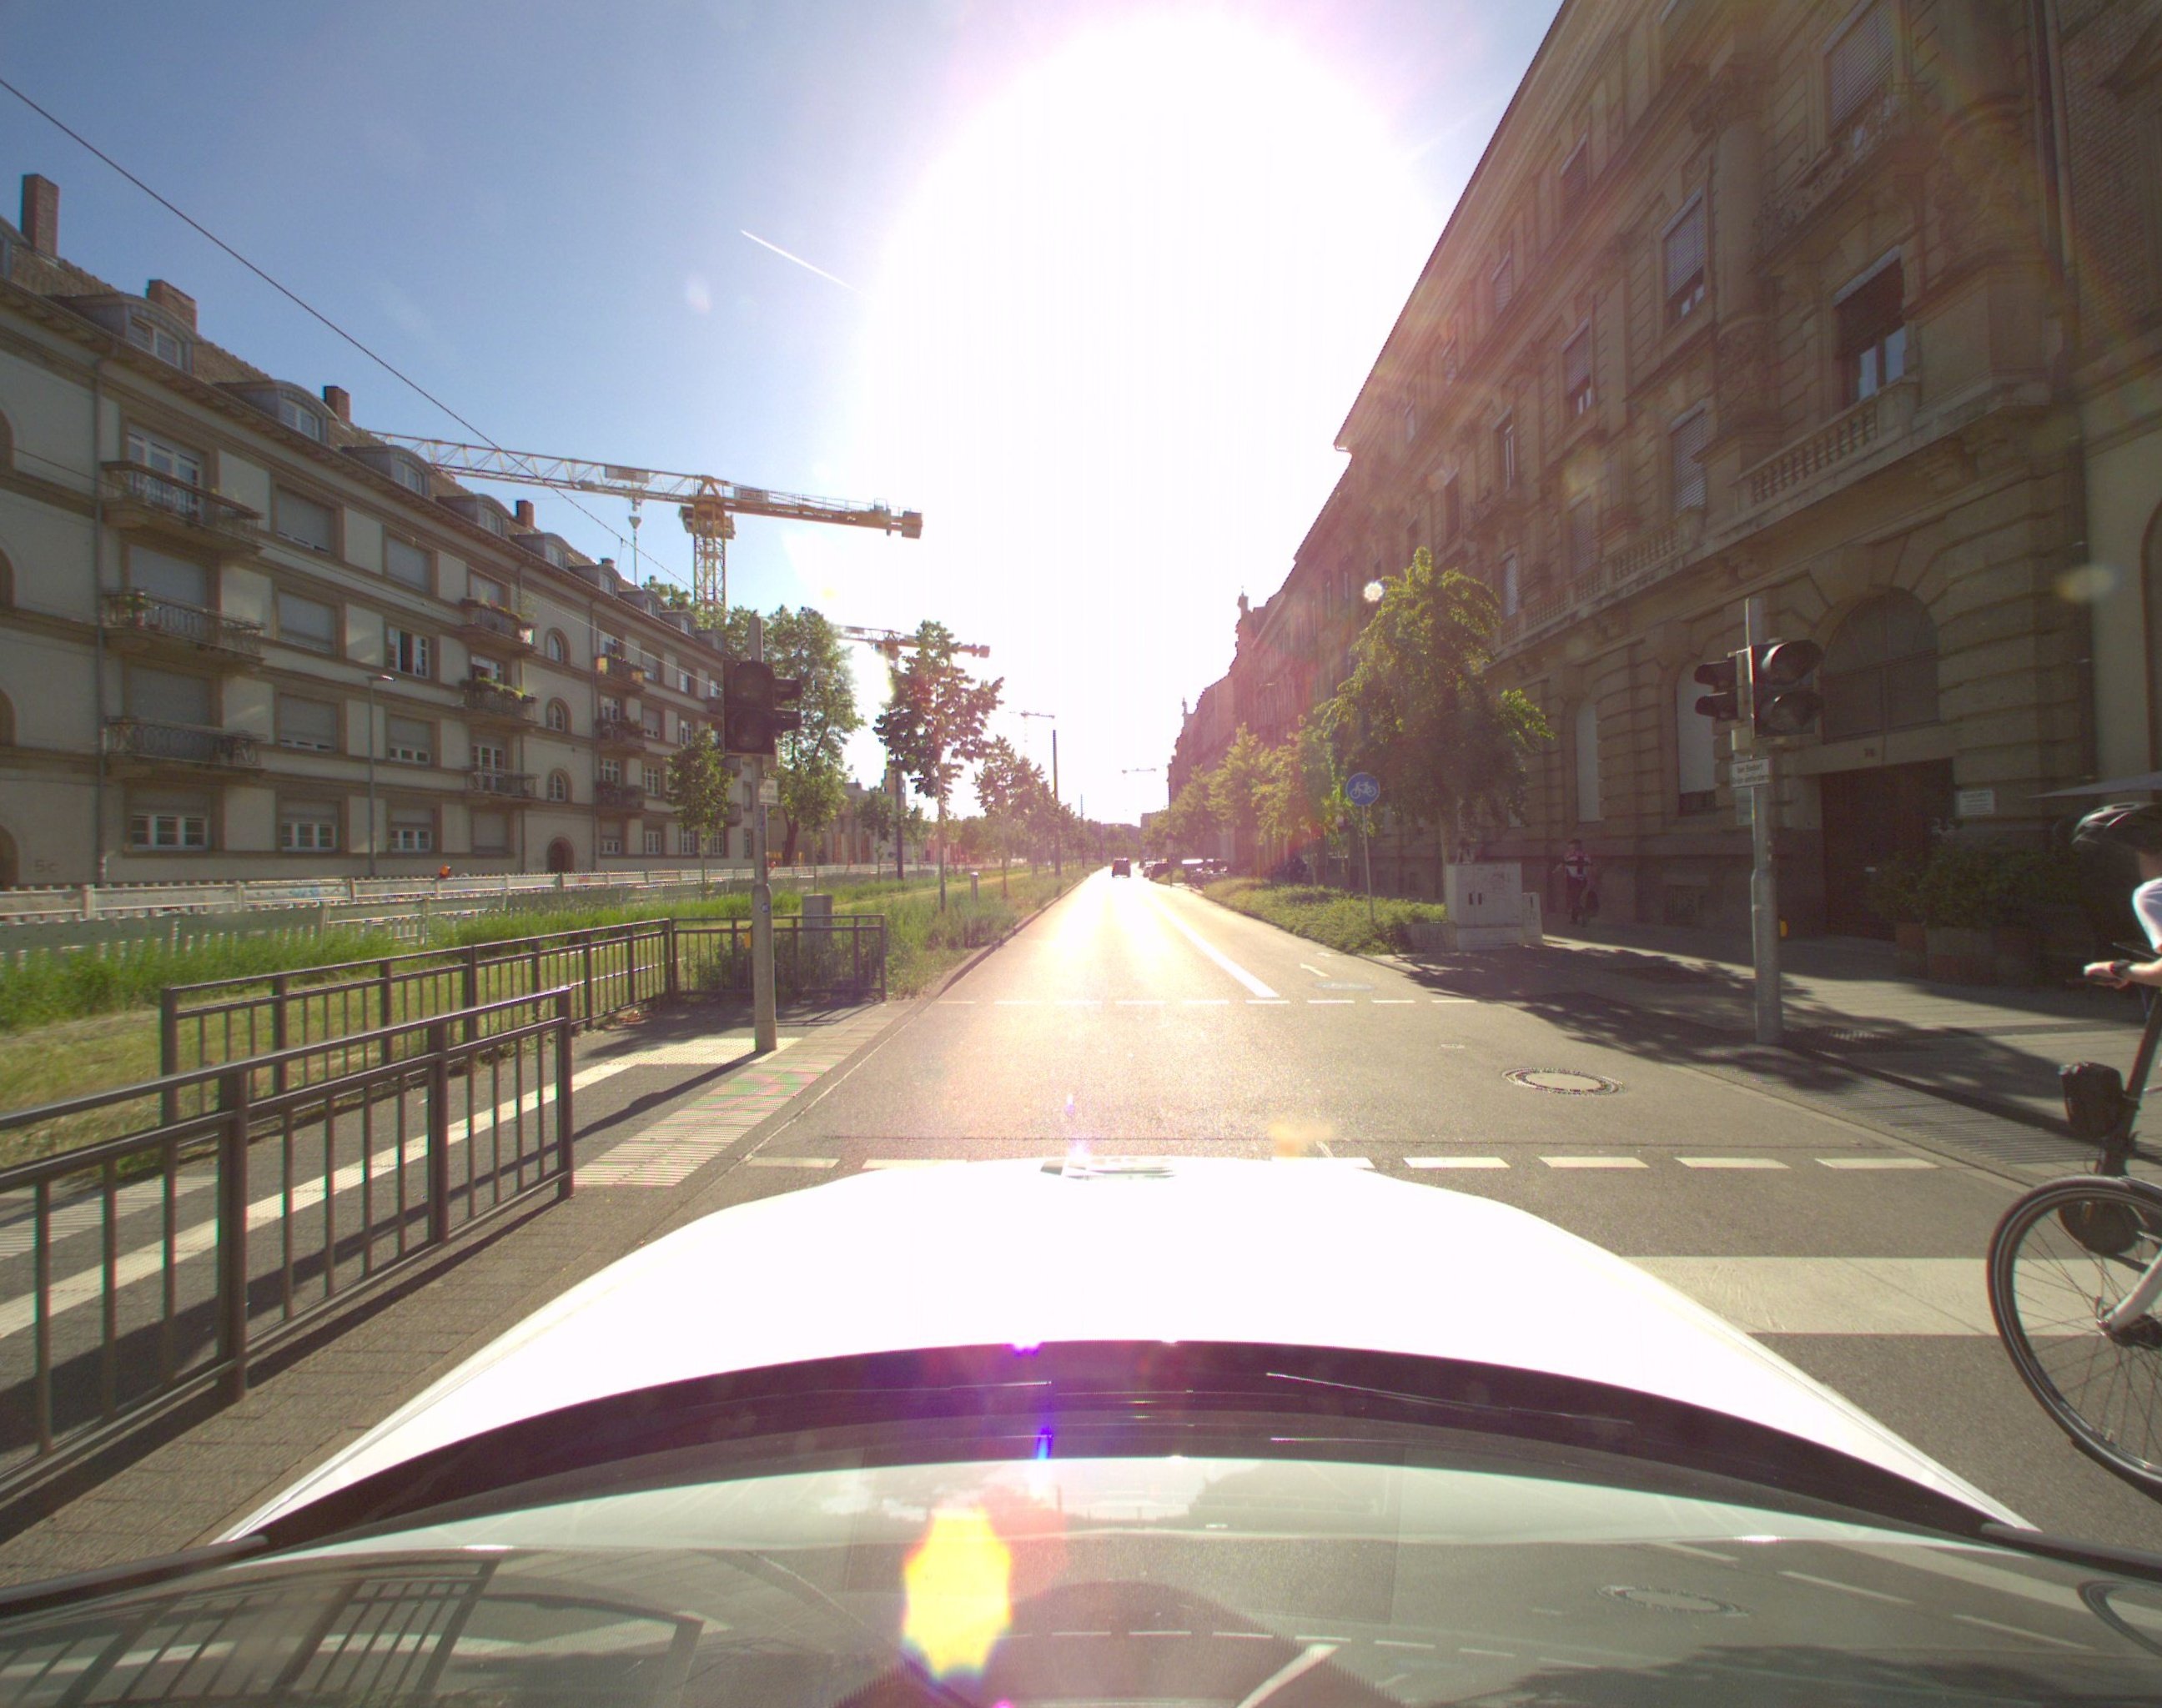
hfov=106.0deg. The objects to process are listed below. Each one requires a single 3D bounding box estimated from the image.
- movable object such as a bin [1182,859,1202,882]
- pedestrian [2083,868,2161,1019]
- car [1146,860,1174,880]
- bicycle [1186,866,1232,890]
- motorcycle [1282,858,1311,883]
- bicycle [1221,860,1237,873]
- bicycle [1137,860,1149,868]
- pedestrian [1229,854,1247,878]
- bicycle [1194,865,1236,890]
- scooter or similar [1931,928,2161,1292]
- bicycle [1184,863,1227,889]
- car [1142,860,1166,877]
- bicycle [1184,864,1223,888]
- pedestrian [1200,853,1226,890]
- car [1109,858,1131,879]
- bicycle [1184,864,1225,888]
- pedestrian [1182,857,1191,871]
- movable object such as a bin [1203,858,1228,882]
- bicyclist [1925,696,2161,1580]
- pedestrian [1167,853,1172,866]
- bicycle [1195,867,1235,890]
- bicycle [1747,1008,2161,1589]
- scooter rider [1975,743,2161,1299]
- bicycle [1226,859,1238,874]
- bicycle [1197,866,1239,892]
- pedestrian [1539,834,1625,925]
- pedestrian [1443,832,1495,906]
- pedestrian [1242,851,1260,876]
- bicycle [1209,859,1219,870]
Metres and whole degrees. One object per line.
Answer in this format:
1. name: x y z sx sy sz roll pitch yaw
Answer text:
1. movable object such as a bin: 7.359 1.103 54.207 1.264 1.463 1.647 0 2 7
2. pedestrian: 8.917 0.709 6.497 0.715 1.183 0.881 -2 -1 1
3. car: 6.508 1.359 67.114 1.760 1.477 4.447 -4 -1 -1
4. bicycle: 6.637 1.224 42.130 2.287 1.102 0.484 -3 -1 -13
5. motorcycle: 11.543 0.872 43.788 0.862 1.266 2.982 0 -1 2
6. bicycle: 13.112 1.077 72.286 0.873 1.105 2.181 -4 -1 -1
7. bicycle: 10.384 1.704 137.143 1.875 1.233 0.499 -4 -1 -4
8. pedestrian: 10.669 0.816 55.322 0.947 1.566 1.080 -2 0 1
9. bicycle: 6.742 1.174 40.962 1.971 1.108 0.435 -3 -1 -1
10. scooter or similar: 3.943 0.894 2.879 0.644 1.158 1.149 0 -1 -4
11. bicycle: 6.508 1.153 42.479 2.148 1.154 0.428 -4 0 -12
12. car: 7.121 1.424 79.815 1.944 1.495 5.107 -3 -1 2
13. bicycle: 6.608 1.199 43.969 1.970 1.124 0.481 -5 0 -4
14. pedestrian: 6.601 0.859 40.756 0.838 1.735 0.908 -5 -1 31
15. car: 3.862 1.387 80.475 1.987 2.014 3.999 0 -1 0
16. bicycle: 6.599 1.189 43.561 2.040 1.107 0.610 -4 -1 -4
17. pedestrian: 13.048 1.240 100.937 0.992 1.731 0.866 0 -1 1
18. movable object such as a bin: 8.955 1.040 54.341 1.368 1.495 1.750 -4 -1 3
19. bicyclist: 2.593 0.582 1.591 0.722 1.817 1.088 0 -1 -7
20. pedestrian: 14.774 0.941 135.844 0.814 2.014 1.046 0 -3 2
21. bicycle: 6.687 1.202 40.619 1.811 1.056 0.571 -3 -1 -4
22. bicycle: 2.586 1.007 1.667 0.722 1.006 1.948 0 0 -6
23. scooter rider: 3.950 0.561 2.836 0.659 1.866 0.897 0 -1 -3
24. bicycle: 12.818 1.056 69.226 0.745 1.201 1.801 -3 -1 2
25. bicycle: 6.590 1.190 39.147 1.887 1.108 0.517 -3 -1 -4
26. pedestrian: 9.892 0.488 16.128 0.965 1.692 1.115 -3 -1 4
27. pedestrian: 10.635 0.412 22.354 0.885 1.920 1.100 -3 -1 7
28. pedestrian: 11.501 0.654 55.231 0.967 1.639 0.993 -3 0 2
29. bicycle: 13.611 1.076 83.452 0.718 1.090 2.200 -2 -1 2
